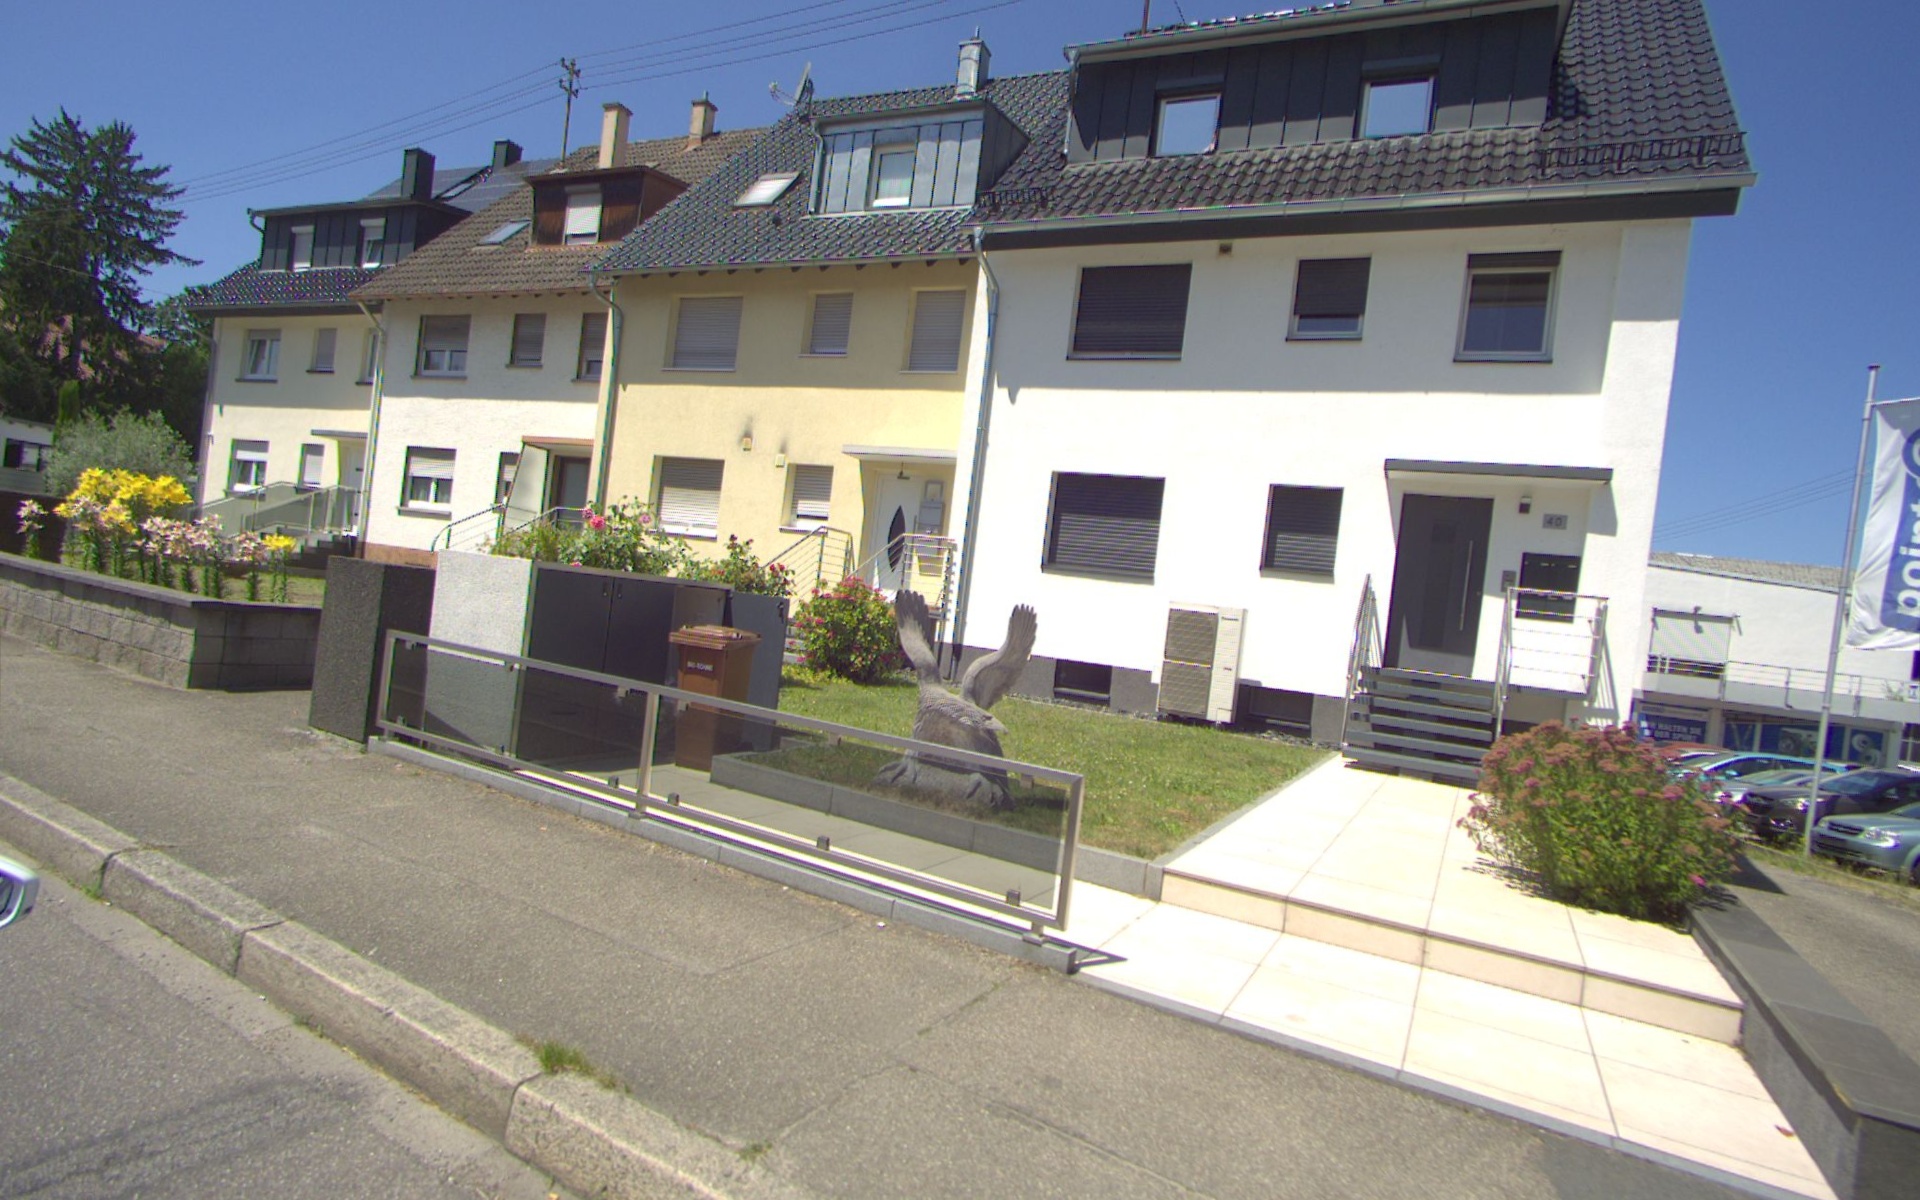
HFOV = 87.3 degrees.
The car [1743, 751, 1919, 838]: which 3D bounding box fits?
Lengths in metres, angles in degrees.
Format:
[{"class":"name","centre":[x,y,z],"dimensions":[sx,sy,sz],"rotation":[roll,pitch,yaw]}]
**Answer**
[{"class":"car","centre":[23.159,5.104,26.333],"dimensions":[3.709,1.548,1.670],"rotation":[8,-3,14]}]

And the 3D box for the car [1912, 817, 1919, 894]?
[{"class":"car","centre":[15.091,3.529,13.166],"dimensions":[3.495,1.547,1.559],"rotation":[9,-4,6]}]

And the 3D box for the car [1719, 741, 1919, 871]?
[{"class":"car","centre":[16.232,3.747,17.841],"dimensions":[3.878,1.697,1.777],"rotation":[9,-1,9]}]

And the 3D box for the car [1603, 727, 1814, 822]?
[{"class":"car","centre":[18.534,4.291,25.081],"dimensions":[3.709,1.548,1.670],"rotation":[8,-3,14]}]

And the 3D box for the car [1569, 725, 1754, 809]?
[{"class":"car","centre":[19.286,4.575,27.826],"dimensions":[3.709,1.548,1.670],"rotation":[8,-3,14]}]

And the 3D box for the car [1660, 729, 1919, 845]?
[{"class":"car","centre":[16.972,3.787,20.698],"dimensions":[3.709,1.548,1.670],"rotation":[9,-3,10]}]

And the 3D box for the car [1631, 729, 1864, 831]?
[{"class":"car","centre":[17.957,4.074,23.125],"dimensions":[3.709,1.548,1.670],"rotation":[8,-3,14]}]
